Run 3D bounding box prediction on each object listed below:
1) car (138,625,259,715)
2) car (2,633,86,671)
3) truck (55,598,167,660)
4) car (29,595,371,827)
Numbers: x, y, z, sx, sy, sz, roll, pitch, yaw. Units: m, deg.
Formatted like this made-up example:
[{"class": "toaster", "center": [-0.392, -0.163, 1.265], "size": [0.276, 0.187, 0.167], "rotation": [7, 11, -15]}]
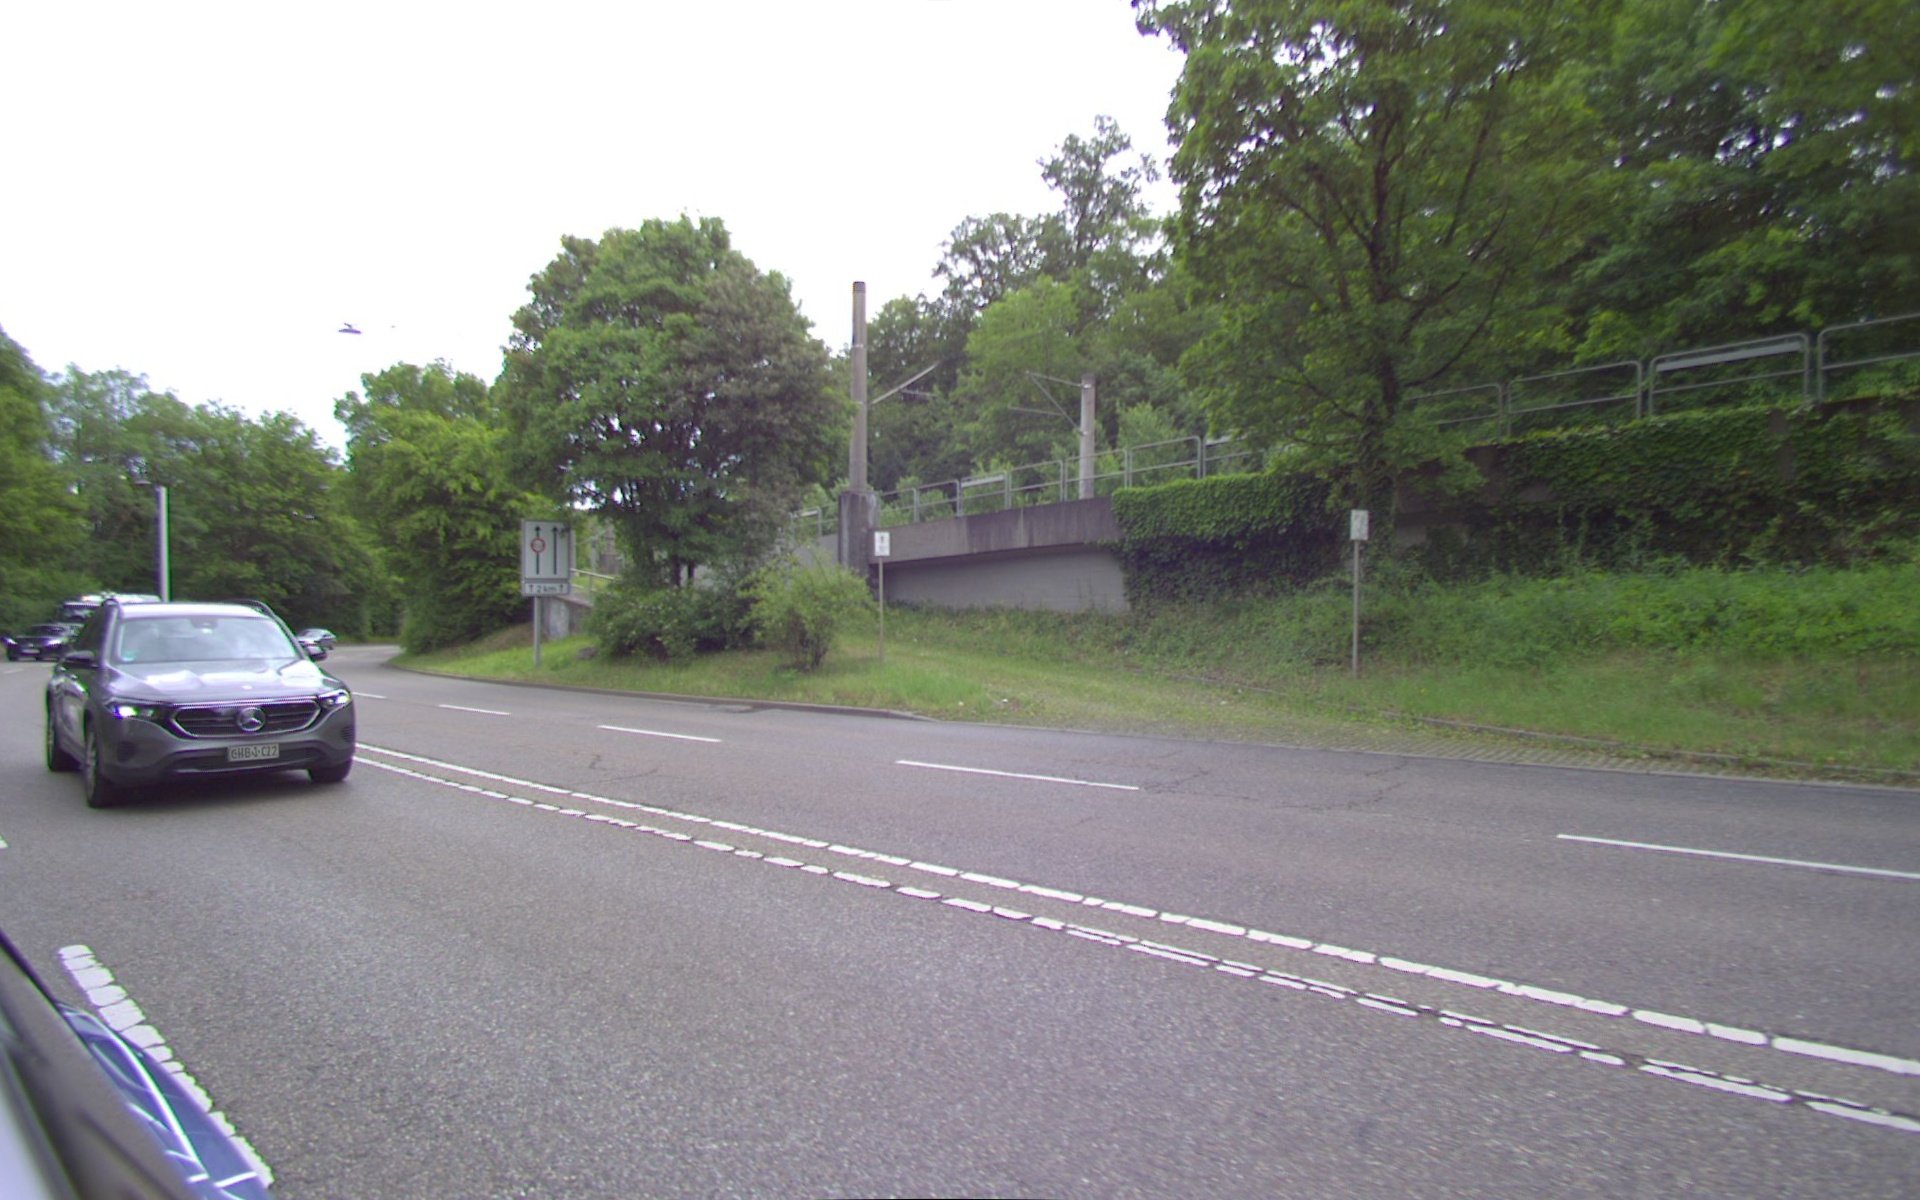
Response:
[{"class": "car", "center": [-15.858, 1.384, 21.056], "size": [1.825, 1.664, 4.366], "rotation": [1, -3, -38]}, {"class": "car", "center": [-37.329, 2.120, 41.342], "size": [1.727, 1.436, 4.022], "rotation": [3, -4, -31]}, {"class": "truck", "center": [-46.369, 1.617, 55.527], "size": [2.164, 3.180, 6.670], "rotation": [0, -2, -16]}, {"class": "car", "center": [-7.238, 0.884, 9.463], "size": [4.357, 1.664, 1.829], "rotation": [-3, -3, 43]}]
